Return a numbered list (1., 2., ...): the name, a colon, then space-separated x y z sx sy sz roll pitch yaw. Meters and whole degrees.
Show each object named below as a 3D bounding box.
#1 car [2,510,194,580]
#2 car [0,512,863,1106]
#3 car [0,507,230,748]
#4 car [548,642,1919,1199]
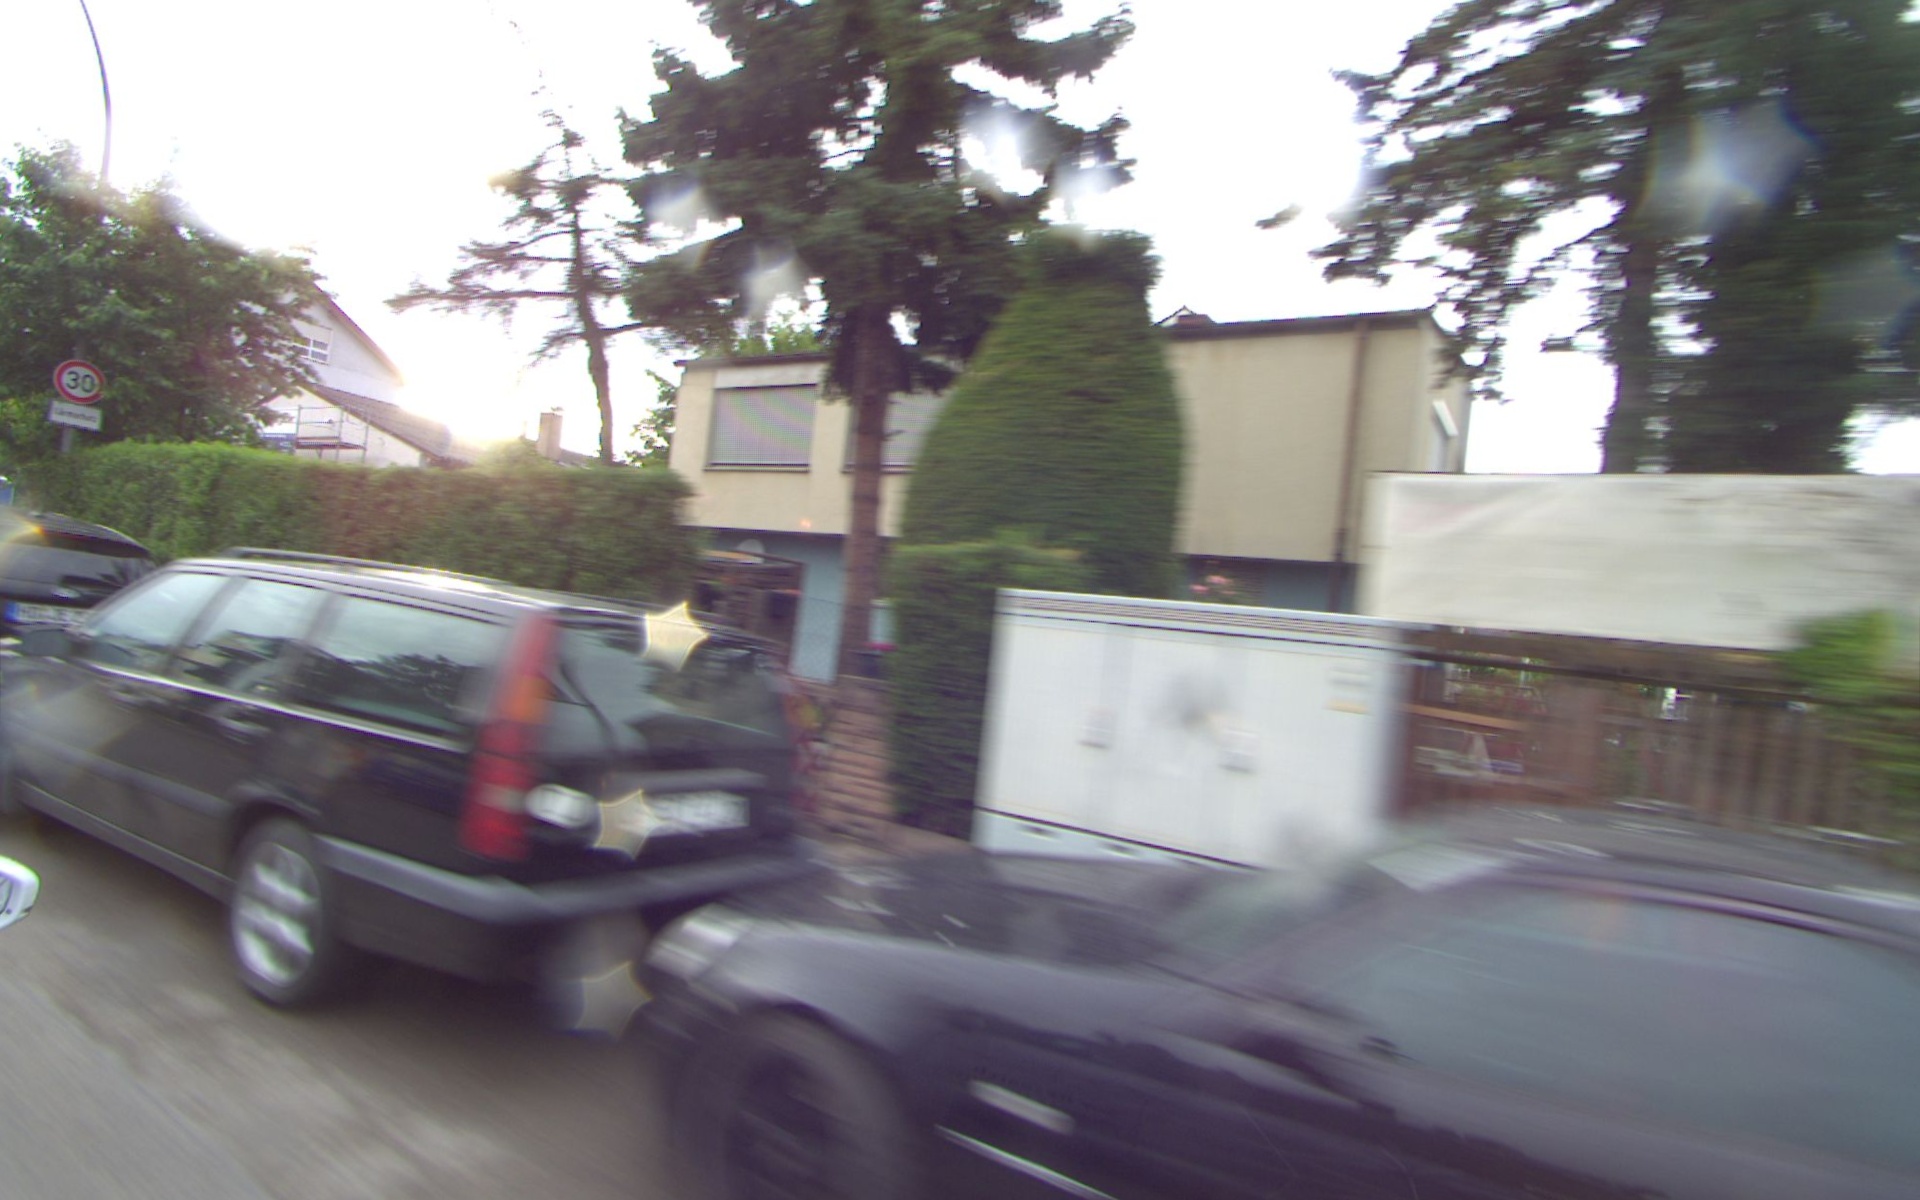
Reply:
1. car: -25.147 -1.580 29.472 3.892 1.416 1.538 8 -1 -13
2. car: -2.912 0.521 4.582 4.696 1.435 1.661 6 -3 30
3. car: -7.281 0.022 7.370 3.765 1.465 1.661 7 -3 31
4. car: 1.189 1.079 2.181 4.024 1.355 1.595 6 -4 30
